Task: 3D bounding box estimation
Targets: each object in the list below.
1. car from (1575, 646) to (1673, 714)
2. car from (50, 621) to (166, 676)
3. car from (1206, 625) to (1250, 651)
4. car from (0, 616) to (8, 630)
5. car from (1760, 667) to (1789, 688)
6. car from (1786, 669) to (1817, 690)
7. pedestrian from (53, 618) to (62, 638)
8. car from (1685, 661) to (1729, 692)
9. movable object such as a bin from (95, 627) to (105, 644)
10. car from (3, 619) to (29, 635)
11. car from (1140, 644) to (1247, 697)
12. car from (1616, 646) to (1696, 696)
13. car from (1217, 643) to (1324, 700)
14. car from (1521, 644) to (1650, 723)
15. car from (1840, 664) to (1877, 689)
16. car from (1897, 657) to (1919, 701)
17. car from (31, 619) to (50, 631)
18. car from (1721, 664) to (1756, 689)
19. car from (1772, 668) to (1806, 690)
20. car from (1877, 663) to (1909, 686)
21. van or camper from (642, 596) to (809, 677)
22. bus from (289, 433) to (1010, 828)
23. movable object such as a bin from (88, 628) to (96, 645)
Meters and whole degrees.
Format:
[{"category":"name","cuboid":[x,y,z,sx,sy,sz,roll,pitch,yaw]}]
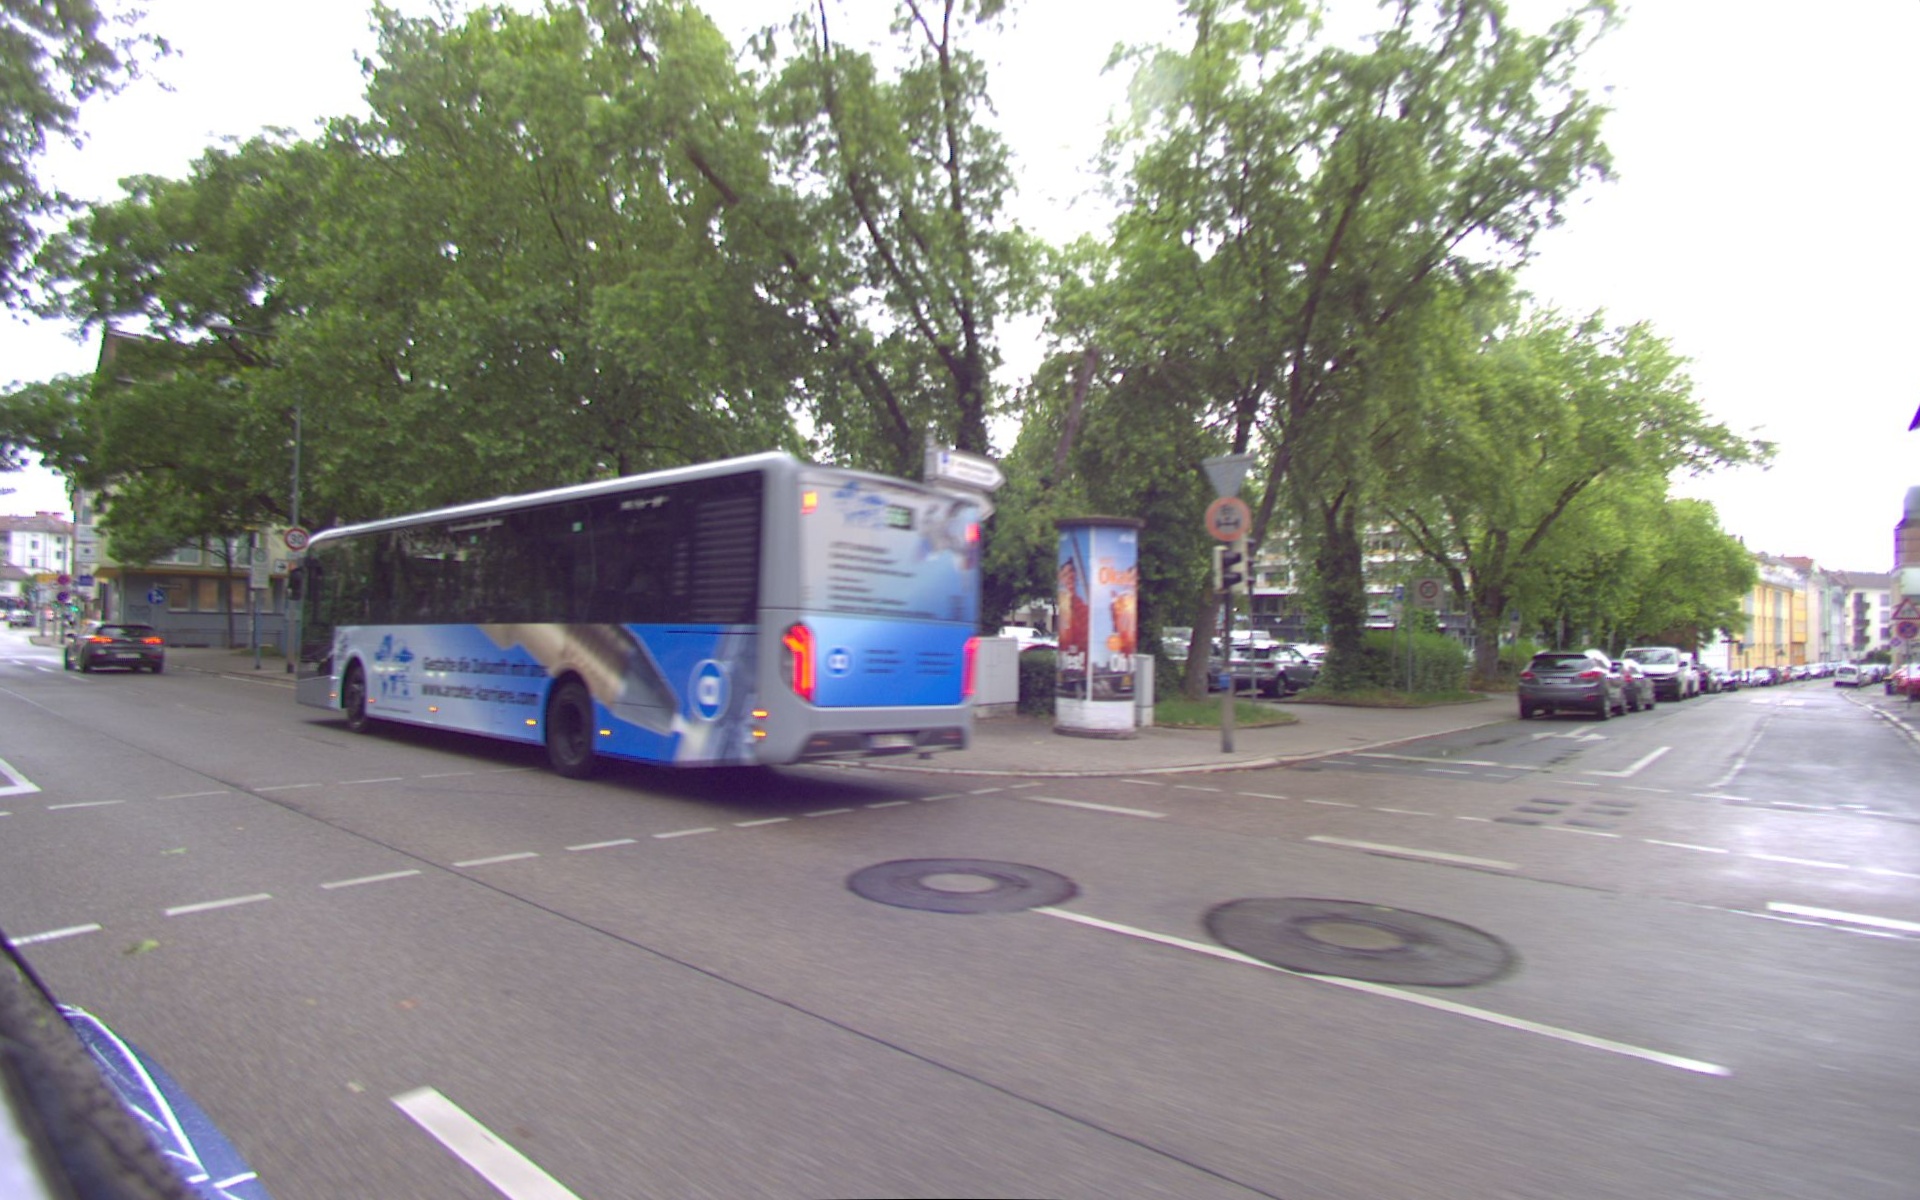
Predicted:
[{"category":"car","cuboid":[18.683,2.206,28.415,1.746,1.709,3.873,0,-3,42]},{"category":"car","cuboid":[-24.300,1.368,28.822,4.027,1.428,1.790,-1,-4,40]},{"category":"car","cuboid":[17.285,2.447,65.289,1.638,1.536,3.161,0,0,38]},{"category":"car","cuboid":[-137.938,3.276,145.092,4.002,1.866,1.971,-1,-4,45]},{"category":"car","cuboid":[58.532,5.537,72.703,1.397,1.444,2.956,-1,-4,43]},{"category":"car","cuboid":[77.976,7.330,93.753,1.913,1.763,3.942,-2,-4,44]},{"category":"pedestrian","cuboid":[-87.843,2.740,98.509,0.586,1.858,0.565,3,-4,-42]},{"category":"car","cuboid":[37.436,3.798,50.697,1.397,1.444,2.956,-1,-4,43]},{"category":"movable object such as a bin","cuboid":[-52.323,2.167,61.601,0.409,1.037,0.354,3,-4,-42]},{"category":"car","cuboid":[-104.640,3.004,112.190,4.002,1.730,1.863,-1,-4,45]},{"category":"car","cuboid":[7.397,2.165,31.806,1.815,1.527,3.949,0,-2,37]},{"category":"car","cuboid":[25.190,2.546,36.562,1.921,1.641,3.873,0,-3,42]},{"category":"car","cuboid":[9.324,2.087,30.226,1.815,1.527,3.949,0,-2,37]},{"category":"car","cuboid":[15.209,1.973,24.512,2.000,1.674,3.944,0,-3,42]},{"category":"car","cuboid":[75.129,6.374,84.628,3.939,2.029,1.920,3,-4,-43]},{"category":"car","cuboid":[40.717,3.258,40.959,3.998,1.696,1.803,0,0,41]},{"category":"car","cuboid":[-133.941,3.613,147.429,4.002,1.670,1.842,-1,-4,45]},{"category":"car","cuboid":[46.630,4.559,60.615,1.397,1.444,2.956,-1,-4,43]},{"category":"car","cuboid":[70.785,6.711,86.382,1.913,1.763,3.942,-2,-4,44]},{"category":"car","cuboid":[87.617,6.973,95.050,3.939,2.029,1.920,3,-4,-43]},{"category":"van or camper","cuboid":[-6.812,1.083,29.795,2.046,2.186,4.438,0,-3,38]},{"category":"bus","cuboid":[-4.855,0.315,12.596,11.775,2.997,2.737,-1,-3,41]},{"category":"movable object such as a bin","cuboid":[-52.580,2.208,61.324,0.333,1.037,0.354,3,-4,-42]}]
